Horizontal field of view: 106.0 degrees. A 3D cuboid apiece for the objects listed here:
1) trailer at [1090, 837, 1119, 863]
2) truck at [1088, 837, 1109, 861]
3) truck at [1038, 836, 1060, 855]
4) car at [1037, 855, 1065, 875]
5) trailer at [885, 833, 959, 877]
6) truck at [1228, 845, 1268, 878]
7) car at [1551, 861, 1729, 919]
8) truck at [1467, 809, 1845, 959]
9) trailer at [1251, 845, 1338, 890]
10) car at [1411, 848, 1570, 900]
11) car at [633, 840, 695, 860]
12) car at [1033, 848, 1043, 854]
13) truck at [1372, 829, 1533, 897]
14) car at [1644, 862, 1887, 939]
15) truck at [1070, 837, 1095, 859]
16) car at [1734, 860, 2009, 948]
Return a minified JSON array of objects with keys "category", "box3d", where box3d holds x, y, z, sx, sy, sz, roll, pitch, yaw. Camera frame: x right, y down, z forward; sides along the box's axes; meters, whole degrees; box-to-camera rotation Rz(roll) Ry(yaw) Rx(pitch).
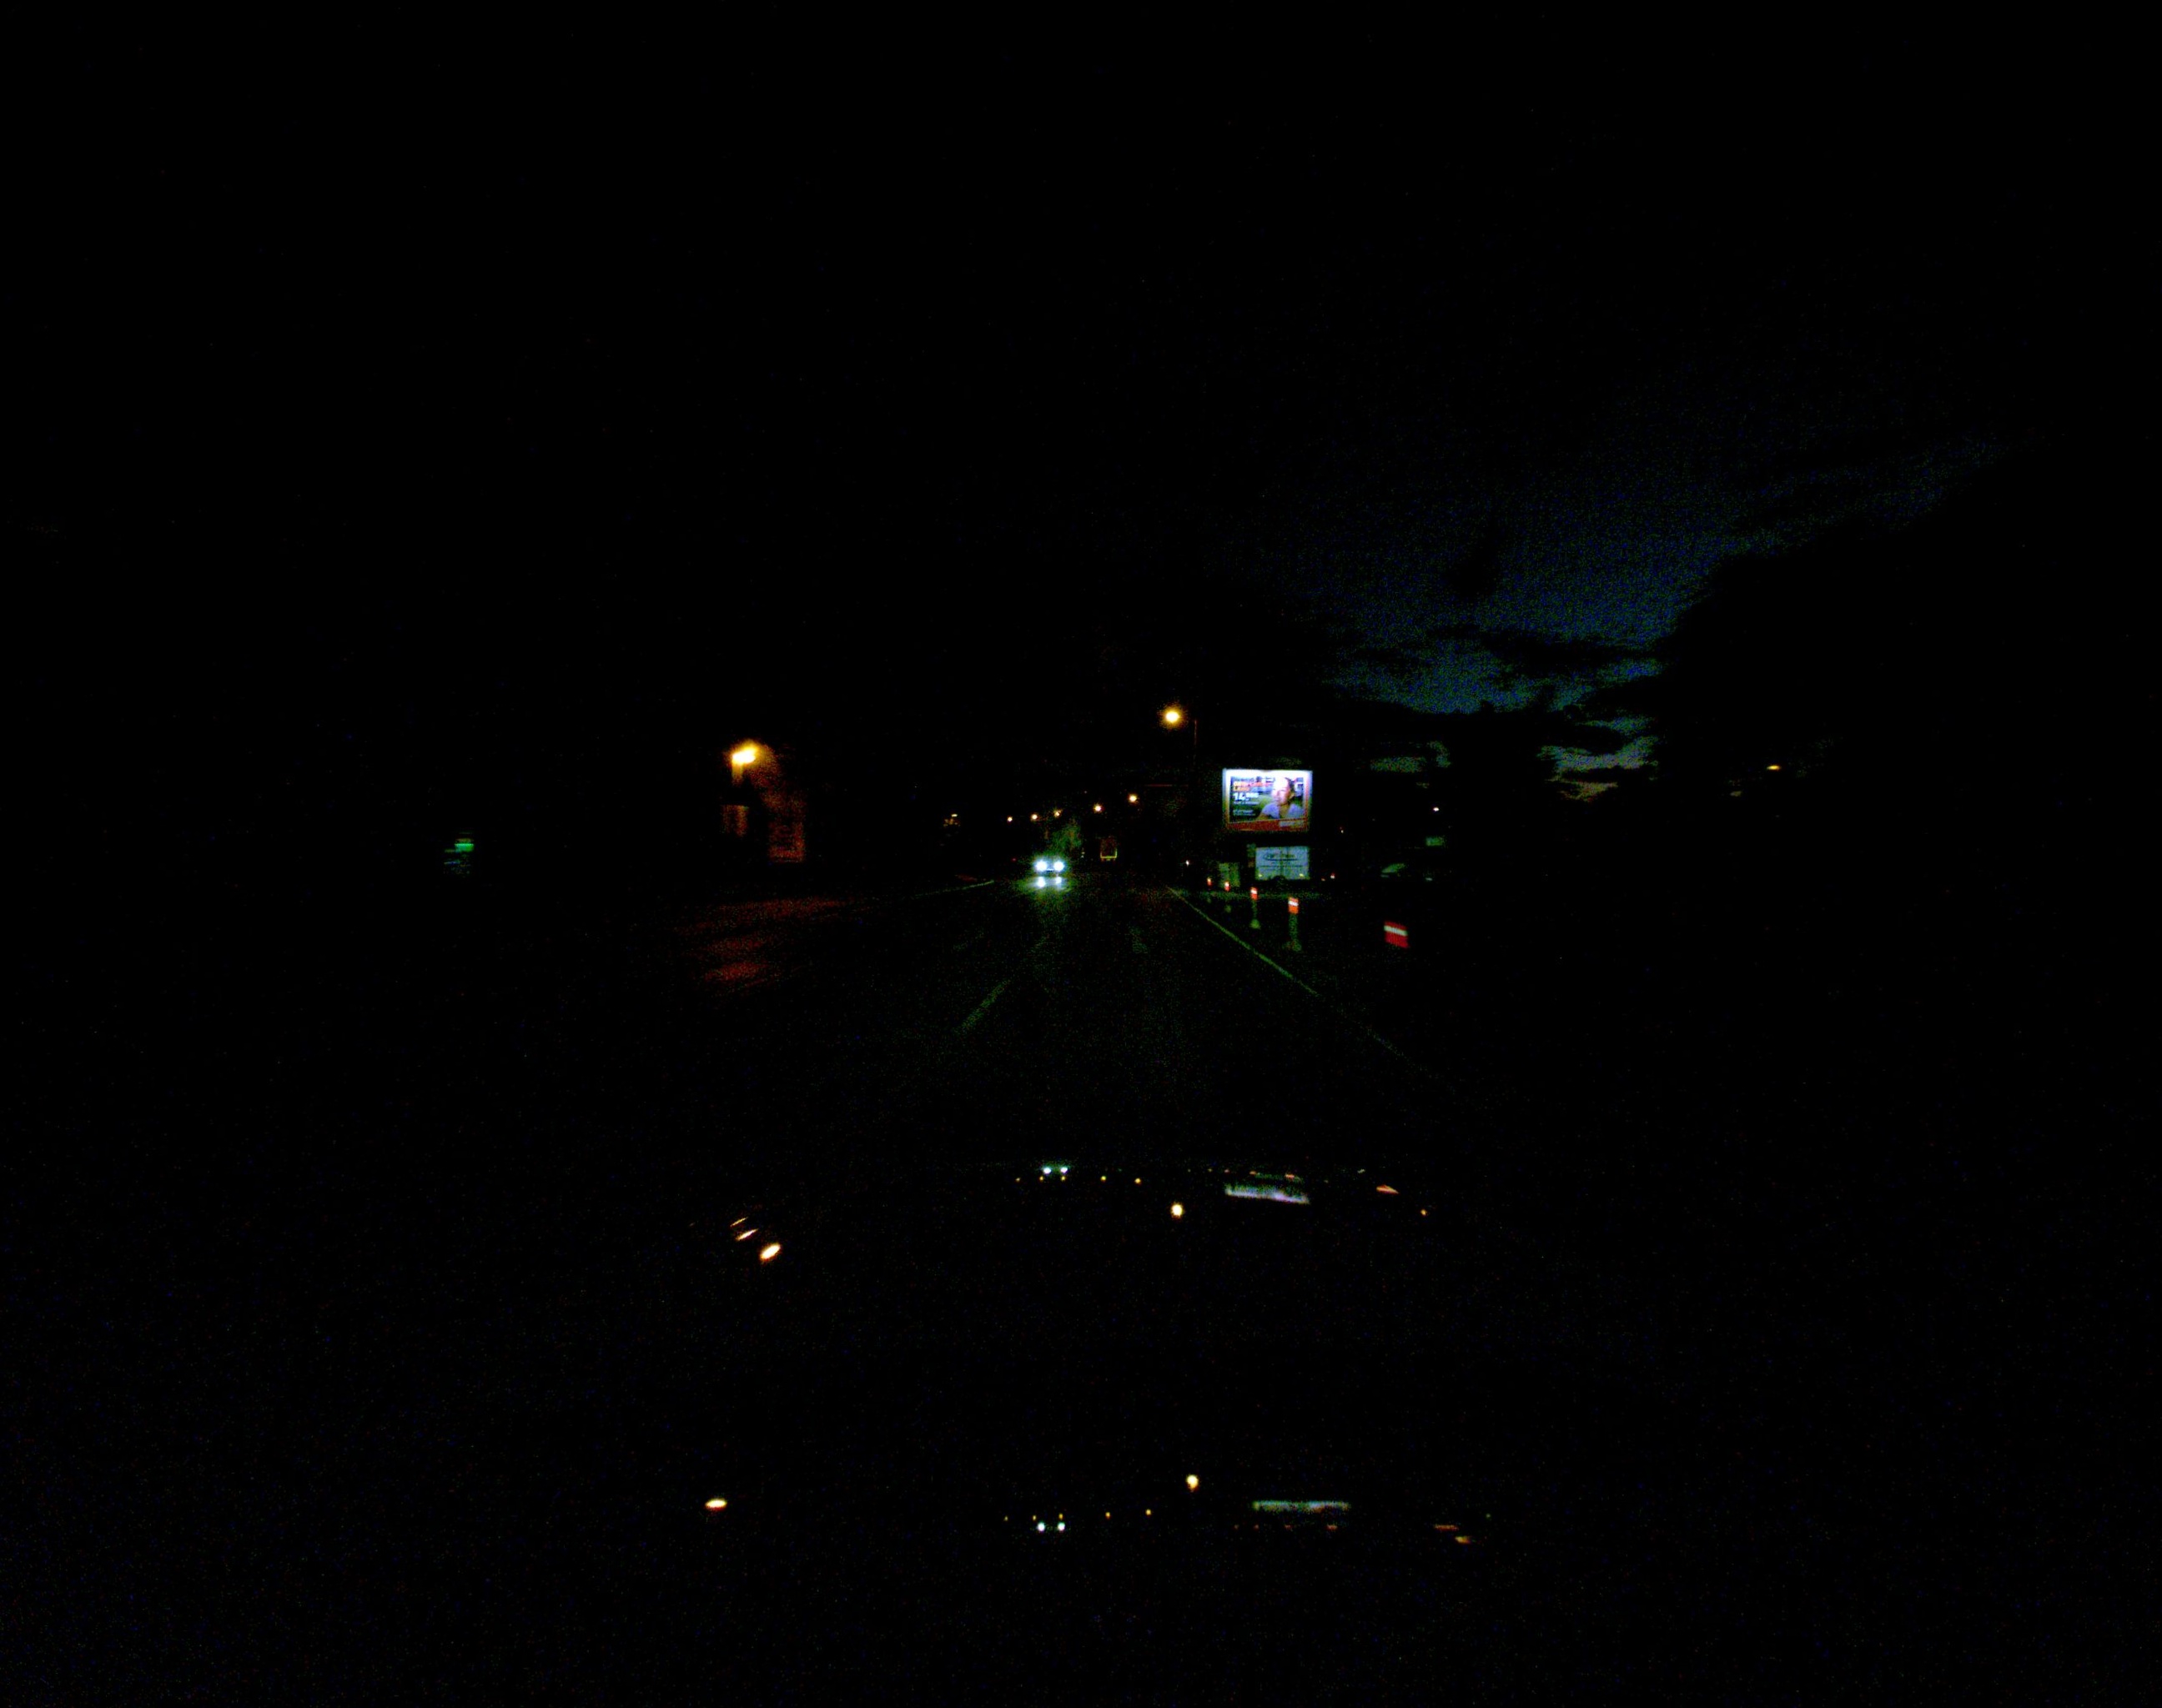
[{"category":"trailer","box3d":[3.740,-0.725,134.780,2.805,3.983,13.944,-1,1,-6]},{"category":"truck","box3d":[3.016,-0.897,141.376,2.827,3.983,6.038,-1,1,-6]},{"category":"truck","box3d":[-7.290,-1.927,184.516,3.520,3.983,10.308,-1,1,-10]},{"category":"car","box3d":[-2.454,0.880,68.722,1.986,1.627,4.755,1,0,2]},{"category":"trailer","box3d":[-10.248,0.049,52.836,4.332,2.720,2.001,-1,0,2]},{"category":"truck","box3d":[13.054,0.550,64.025,2.173,2.423,7.325,1,0,5]},{"category":"car","box3d":[15.650,0.979,22.922,3.842,1.515,1.709,1,0,0]},{"category":"truck","box3d":[10.728,0.468,16.465,2.368,2.284,7.747,1,0,2]},{"category":"trailer","box3d":[10.050,0.596,38.388,3.712,2.013,1.624,0,1,27]},{"category":"car","box3d":[15.512,0.724,31.082,5.049,1.836,1.992,1,0,5]},{"category":"car","box3d":[-36.227,-0.343,70.830,4.337,1.589,1.903,2,0,-12]},{"category":"car","box3d":[-10.602,-0.702,199.258,1.855,1.519,3.801,-1,1,-13]},{"category":"truck","box3d":[15.221,0.346,33.653,5.509,2.599,2.473,1,0,1]},{"category":"car","box3d":[15.308,0.992,18.395,3.838,1.560,1.904,1,0,4]},{"category":"truck","box3d":[0.236,-1.197,151.924,2.831,3.983,10.305,-1,1,-11]},{"category":"car","box3d":[15.648,0.950,16.269,3.842,1.604,1.709,1,0,0]}]
